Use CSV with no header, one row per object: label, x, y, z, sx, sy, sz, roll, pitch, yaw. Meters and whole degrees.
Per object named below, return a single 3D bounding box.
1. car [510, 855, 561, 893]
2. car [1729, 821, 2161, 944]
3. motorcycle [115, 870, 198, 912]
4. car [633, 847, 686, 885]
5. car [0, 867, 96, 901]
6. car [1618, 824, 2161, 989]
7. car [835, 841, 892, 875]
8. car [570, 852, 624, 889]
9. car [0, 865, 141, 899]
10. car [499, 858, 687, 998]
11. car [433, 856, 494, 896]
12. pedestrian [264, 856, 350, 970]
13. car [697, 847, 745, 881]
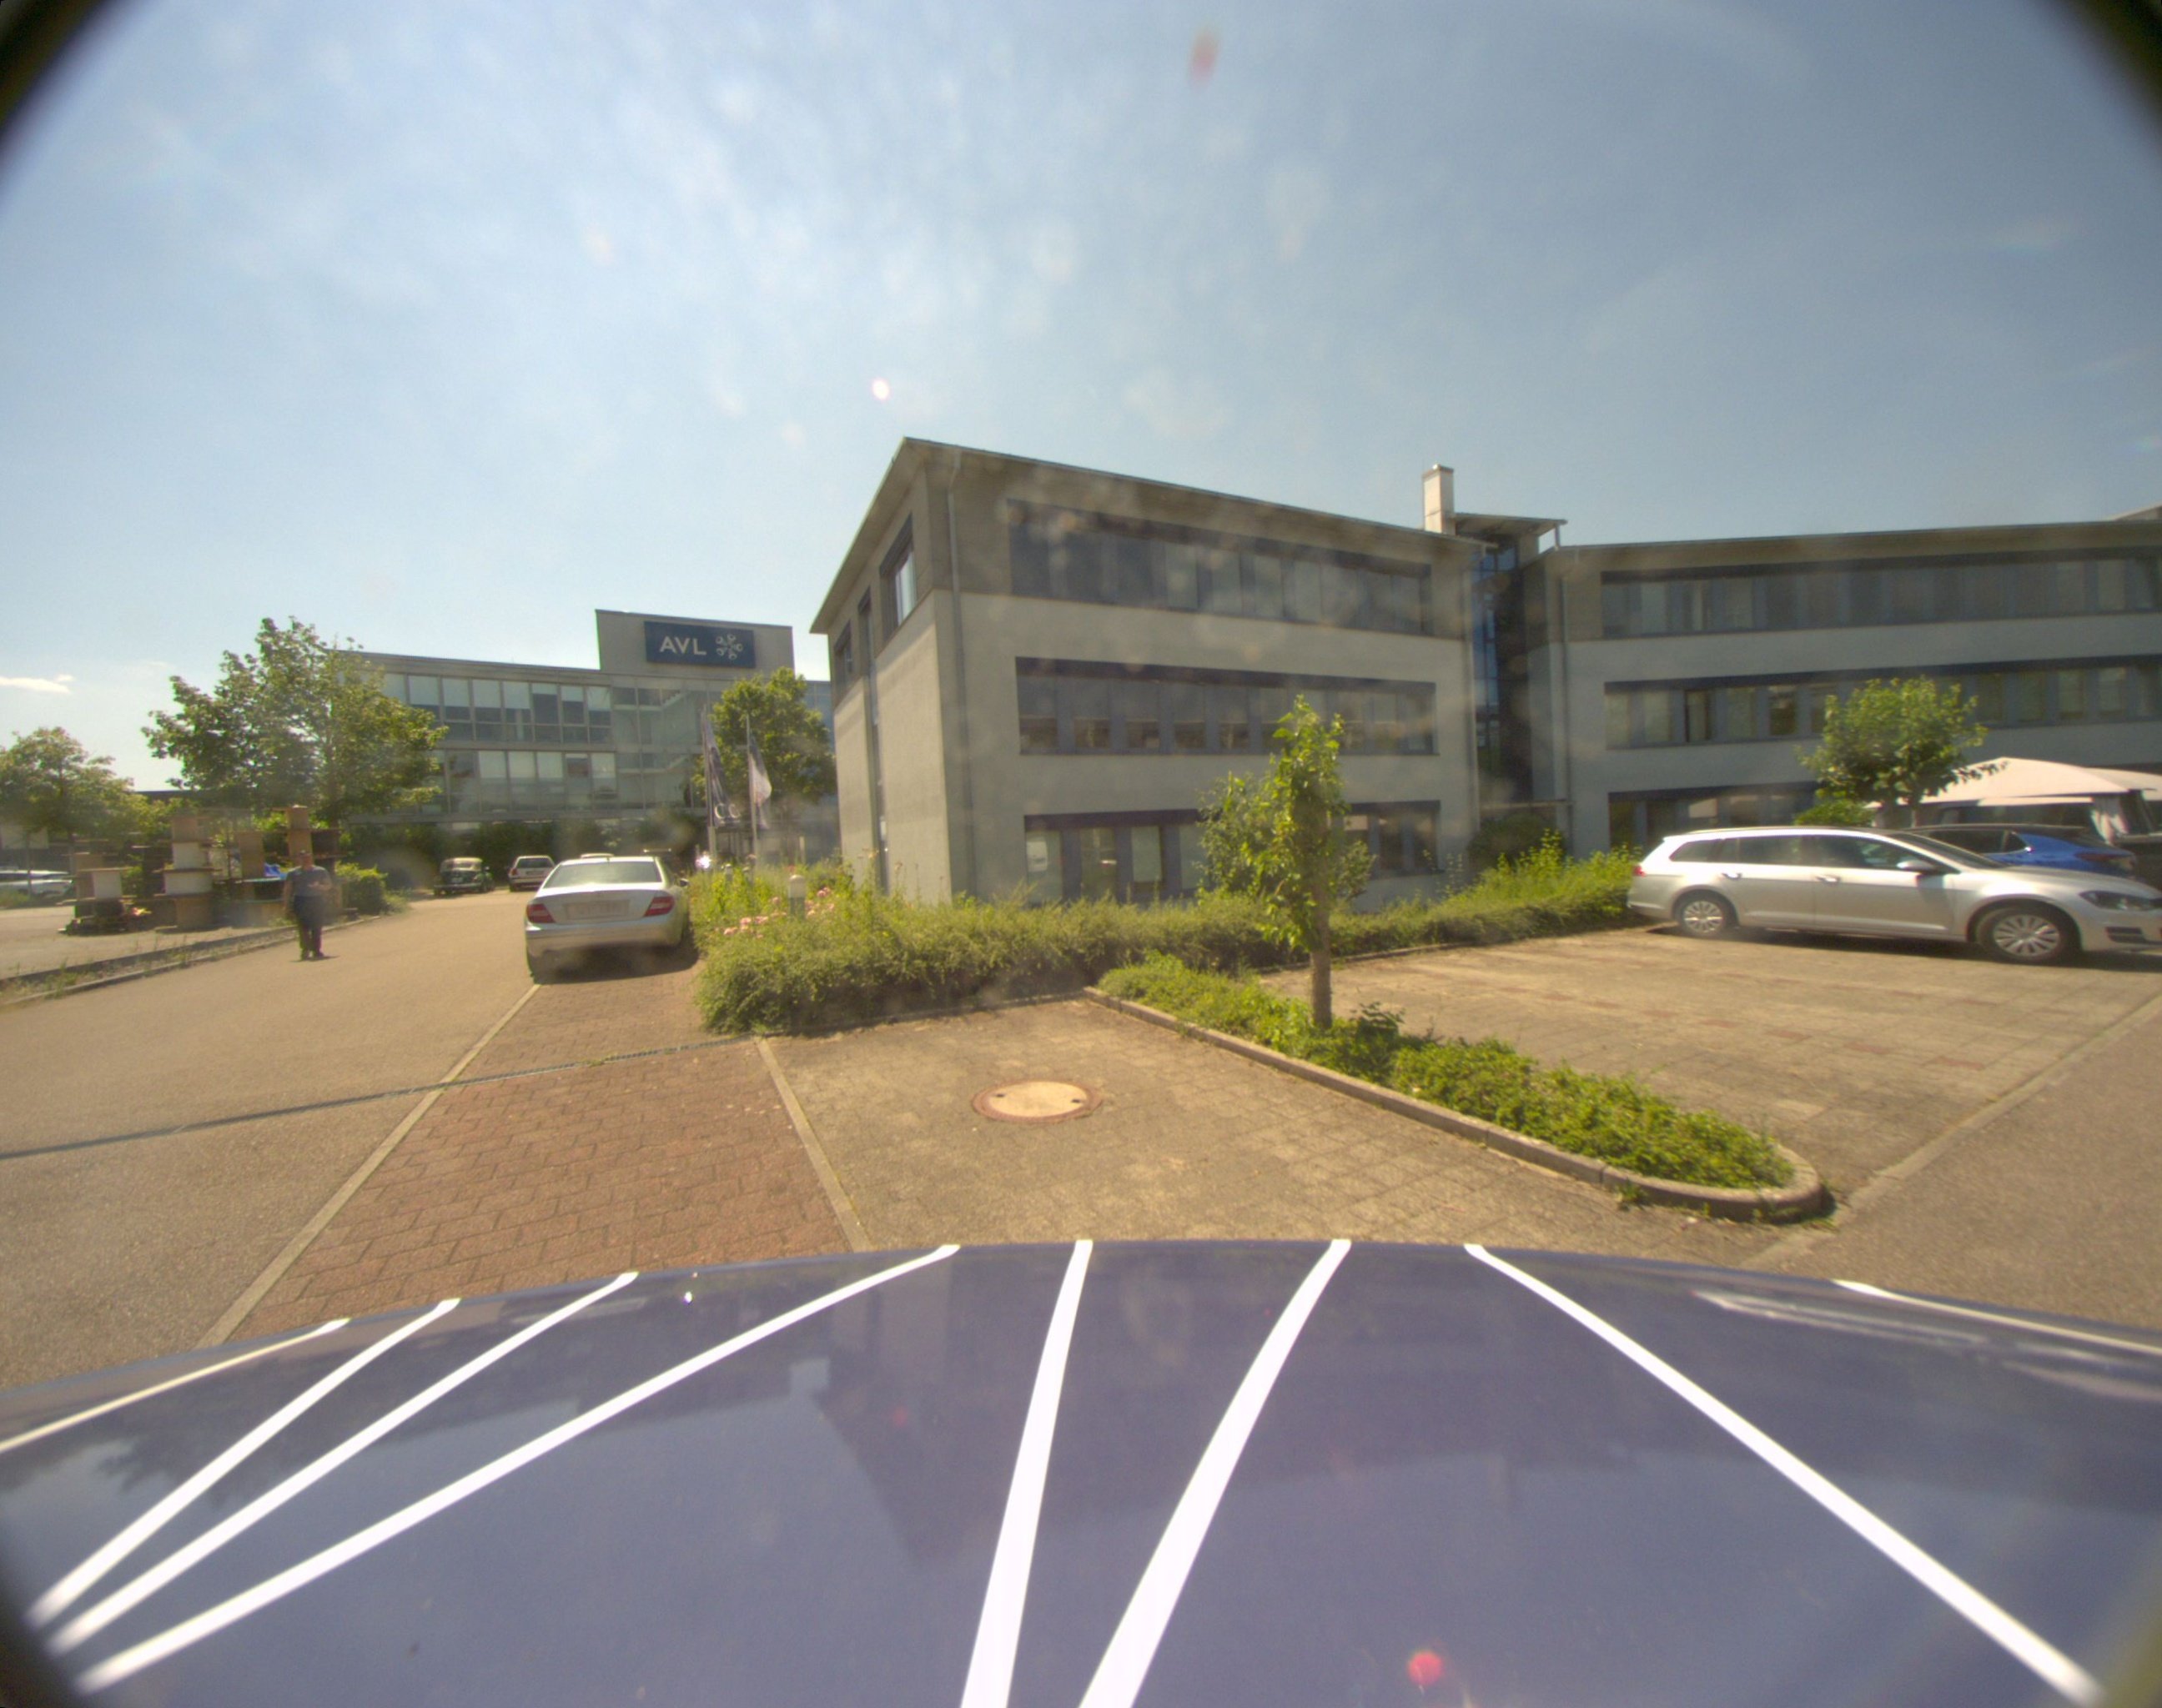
car,-23.305,0.790,32.419,1.646,1.444,3.590,-2,2,-36
car,12.715,0.360,11.456,2.002,1.453,3.992,-3,0,-26
motorcycle,-32.016,1.231,26.378,0.875,1.252,2.828,-3,2,-31
car,-19.475,0.501,35.019,1.943,1.594,3.849,-2,2,-31
car,-51.455,1.464,36.753,4.416,1.467,1.778,-2,2,-14
car,9.529,0.460,9.280,1.866,1.464,4.473,-3,1,-30
car,-11.423,0.172,39.743,1.836,1.628,4.161,-3,2,-30
car,-21.718,0.694,34.050,1.735,1.444,3.590,-2,2,-36
car,-52.560,1.429,39.561,4.290,1.467,1.778,-2,2,-14
car,-6.671,0.849,10.822,1.737,1.449,4.138,-3,2,-26
car,-25.203,0.852,31.119,1.525,1.437,3.410,-2,2,-33
pedestrian,-12.771,0.931,12.547,0.766,1.759,0.810,1,4,38
car,-17.268,0.431,36.339,1.733,1.476,4.386,-3,2,-29
